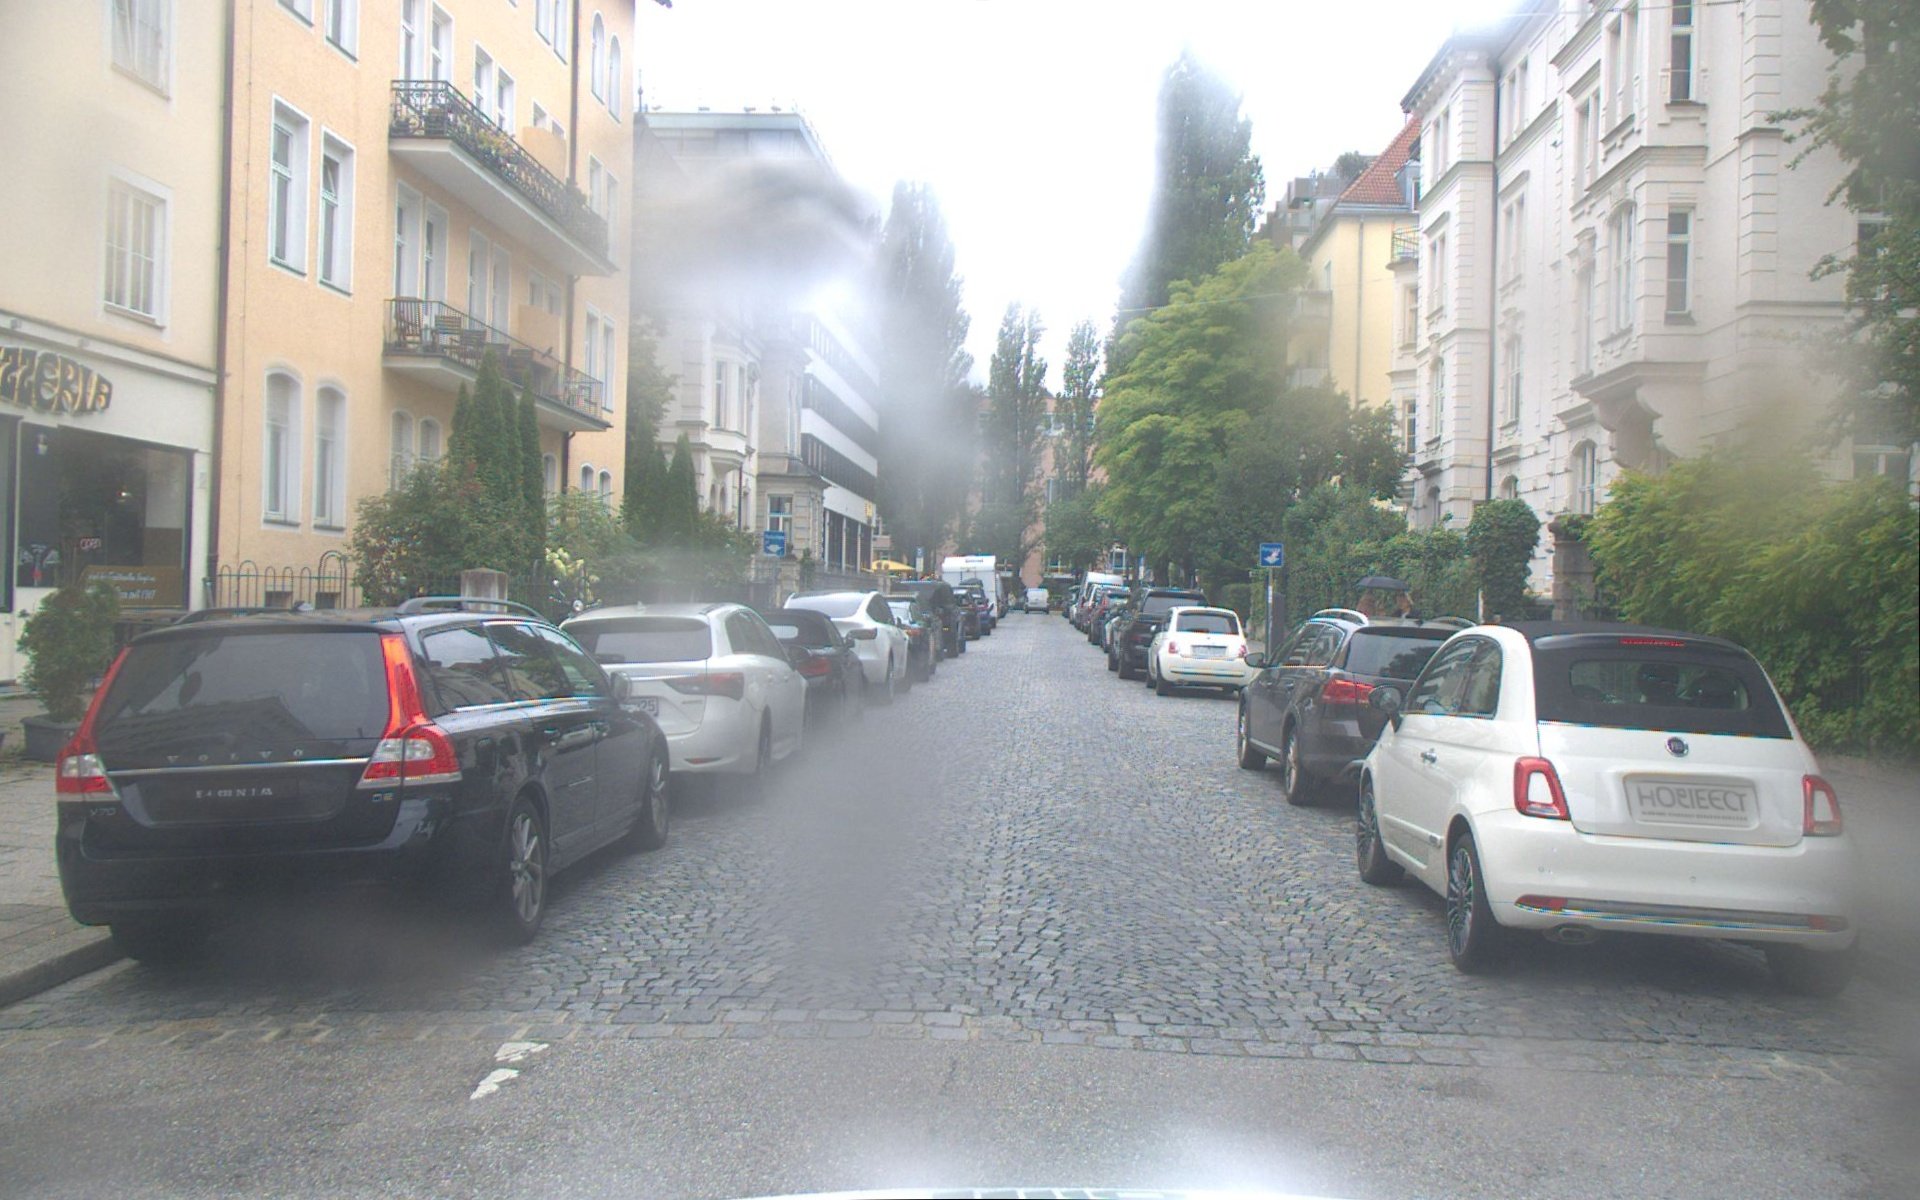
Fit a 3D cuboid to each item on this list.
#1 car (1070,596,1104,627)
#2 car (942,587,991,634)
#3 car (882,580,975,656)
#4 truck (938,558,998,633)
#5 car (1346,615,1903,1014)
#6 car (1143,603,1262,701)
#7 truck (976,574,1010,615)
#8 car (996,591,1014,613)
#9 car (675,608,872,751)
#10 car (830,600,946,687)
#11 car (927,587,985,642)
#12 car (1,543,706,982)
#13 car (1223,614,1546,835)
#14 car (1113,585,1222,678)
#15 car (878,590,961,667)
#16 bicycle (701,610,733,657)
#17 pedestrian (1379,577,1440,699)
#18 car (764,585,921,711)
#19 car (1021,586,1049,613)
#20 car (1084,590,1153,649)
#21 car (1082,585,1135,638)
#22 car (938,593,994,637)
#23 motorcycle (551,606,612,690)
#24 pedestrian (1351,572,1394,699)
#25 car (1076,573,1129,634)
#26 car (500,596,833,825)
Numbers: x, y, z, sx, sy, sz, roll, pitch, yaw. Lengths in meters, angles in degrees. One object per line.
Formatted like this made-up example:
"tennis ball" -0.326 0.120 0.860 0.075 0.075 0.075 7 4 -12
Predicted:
"car" 6.546 0.589 85.573 1.566 1.512 3.480 2 0 2
"car" 0.279 0.414 65.986 1.855 1.781 4.168 1 0 1
"car" -0.738 0.410 42.122 1.941 1.768 4.724 2 0 3
"truck" 0.418 -0.221 72.039 2.456 3.085 6.386 -1 0 2
"car" 3.012 0.843 8.305 1.470 1.497 3.797 1 0 4
"car" 4.151 0.862 28.765 1.596 1.495 3.660 3 0 3
"truck" 2.028 -0.322 100.669 1.952 2.388 4.069 2 0 3
"car" 3.474 0.159 126.648 1.250 1.568 3.120 2 0 3
"car" -1.991 0.812 18.852 1.737 1.383 4.390 2 0 0
"car" -1.273 0.774 31.057 1.737 1.454 4.392 2 0 3
"car" -0.100 0.479 55.470 1.737 1.748 4.392 2 0 2
"car" -2.670 0.628 8.661 1.814 1.614 4.748 2 0 1
"car" 3.438 0.918 14.275 1.614 1.446 4.633 5 0 2
"car" 4.196 0.615 34.137 1.836 1.702 5.493 2 0 3
"car" -0.864 0.635 37.215 1.546 1.618 4.057 -1 -1 3
"bicycle" -5.364 0.730 36.604 0.344 1.020 1.573 2 0 4
"pedestrian" 6.907 0.573 25.430 0.619 1.840 0.656 2 -1 -20
"car" -1.656 0.666 24.823 1.736 1.676 4.393 2 0 3
"car" 5.575 -0.025 122.267 1.954 1.970 4.002 1 0 4
"car" 5.154 0.615 54.317 1.922 1.789 4.955 2 0 2
"car" 6.018 0.459 67.504 1.763 1.983 4.861 4 0 2
"car" 0.250 0.536 60.649 1.900 1.485 4.058 2 0 2
"motorcycle" -5.699 0.700 24.962 0.480 1.215 1.580 1 0 2
"pedestrian" 6.219 0.527 24.974 0.563 1.882 0.682 1 0 10
"car" 6.245 0.120 73.142 1.856 2.468 5.613 5 1 2
"car" -2.187 0.772 13.584 1.736 1.563 4.542 0 0 2
